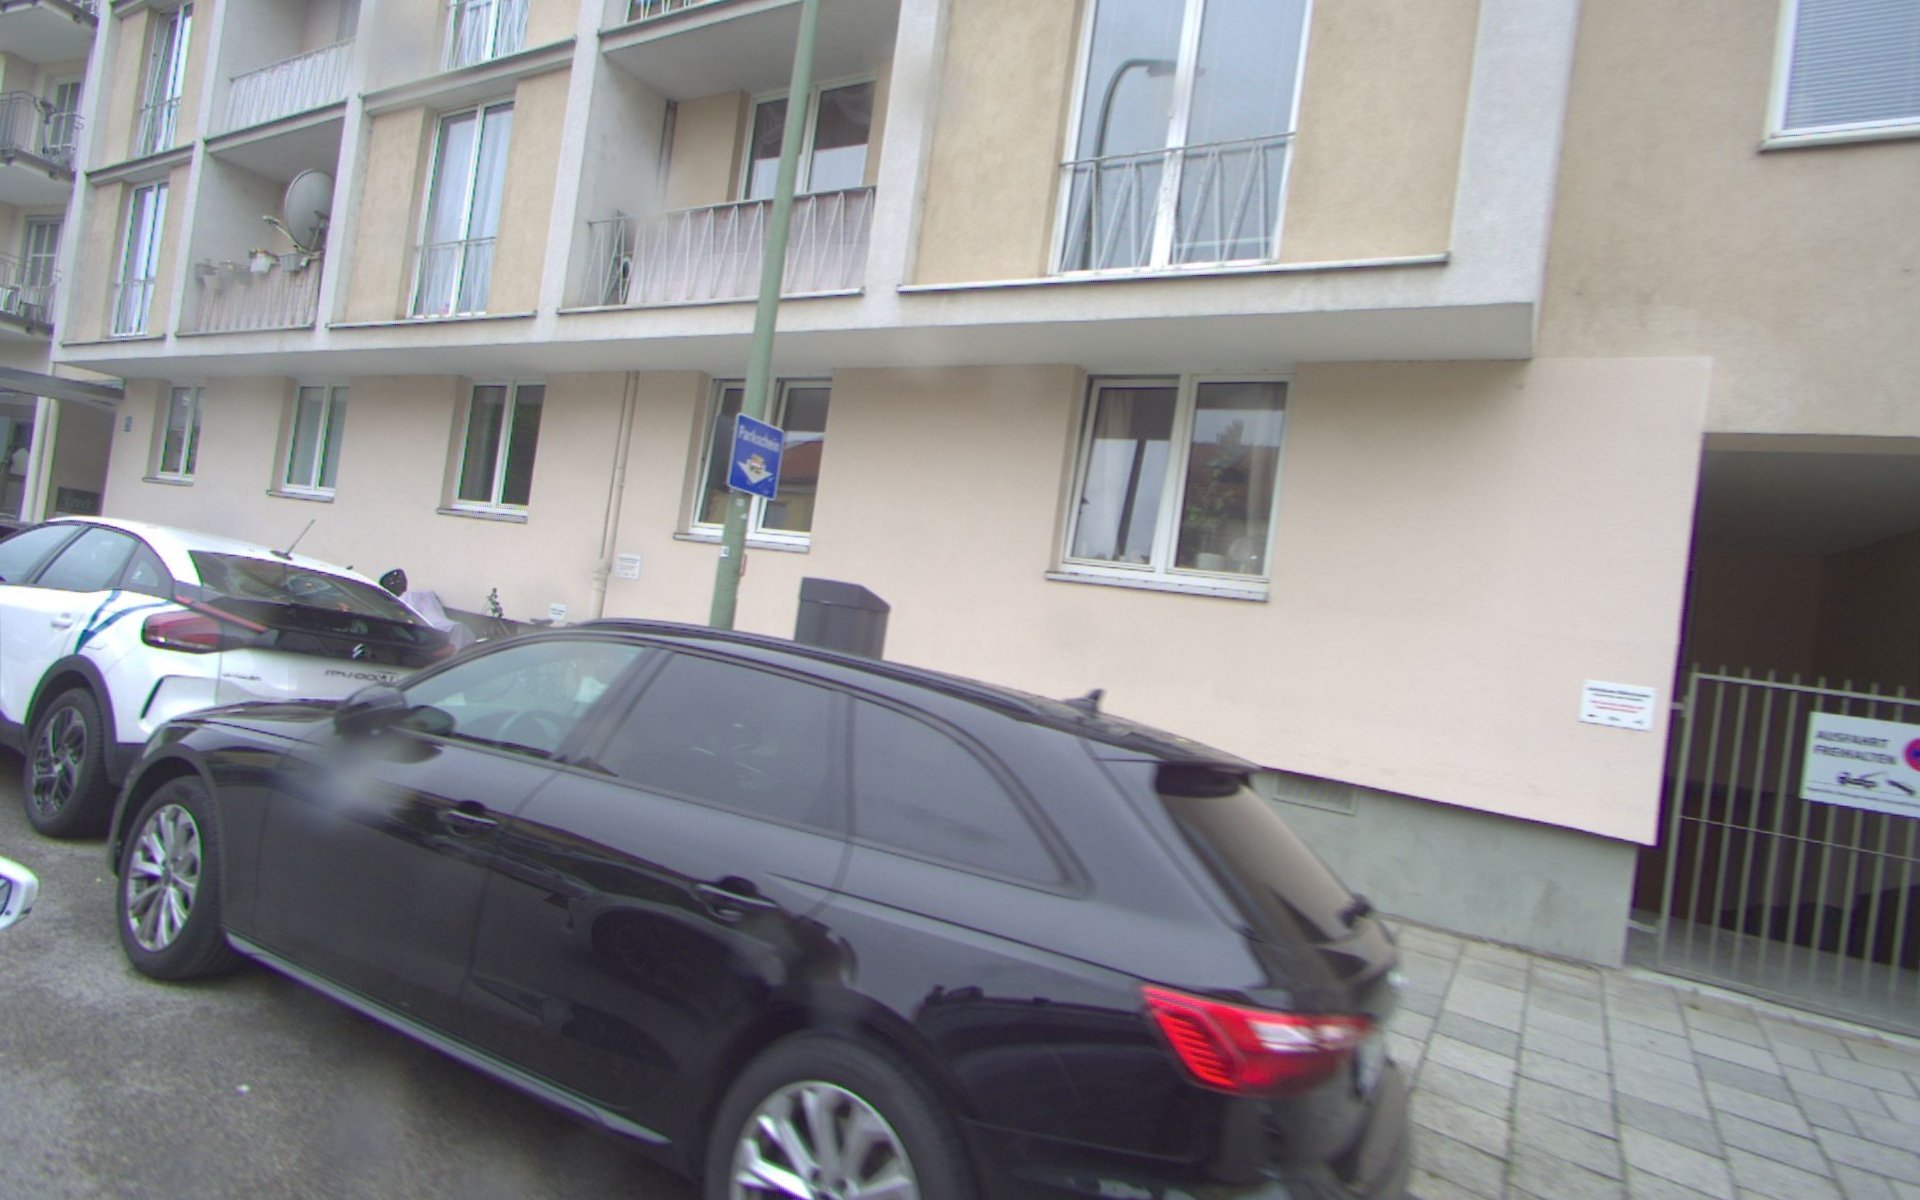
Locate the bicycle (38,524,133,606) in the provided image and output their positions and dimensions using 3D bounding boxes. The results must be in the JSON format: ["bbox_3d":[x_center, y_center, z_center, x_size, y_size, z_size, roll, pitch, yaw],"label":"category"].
[{"bbox_3d":[-14.376,-0.579,16.532,1.822,1.123,0.456,7,-1,28],"label":"bicycle"}]

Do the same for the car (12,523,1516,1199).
[{"bbox_3d":[-0.981,0.781,3.426,4.868,1.403,1.751,7,-3,29],"label":"car"}]

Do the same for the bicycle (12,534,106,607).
[{"bbox_3d":[-14.136,-0.468,15.768,1.705,0.934,0.456,7,-1,28],"label":"bicycle"}]

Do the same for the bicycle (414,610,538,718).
[{"bbox_3d":[-5.027,0.651,10.419,1.369,0.915,0.378,7,-1,32],"label":"bicycle"}]

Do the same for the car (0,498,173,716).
[{"bbox_3d":[-9.193,-0.237,8.702,5.077,1.537,1.887,7,-5,31],"label":"car"}]

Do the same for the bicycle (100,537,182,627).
[{"bbox_3d":[-11.767,-0.265,14.450,1.369,1.132,0.378,7,-1,32],"label":"bicycle"}]

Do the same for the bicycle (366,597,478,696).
[{"bbox_3d":[-6.073,0.514,11.341,1.369,0.915,0.378,7,-1,32],"label":"bicycle"}]

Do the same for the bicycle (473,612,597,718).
[{"bbox_3d":[-4.493,0.678,10.602,1.369,0.915,0.378,7,-1,32],"label":"bicycle"}]

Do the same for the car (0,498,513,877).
[{"bbox_3d":[-5.021,0.284,6.090,4.501,1.505,1.700,7,-3,29],"label":"car"}]
